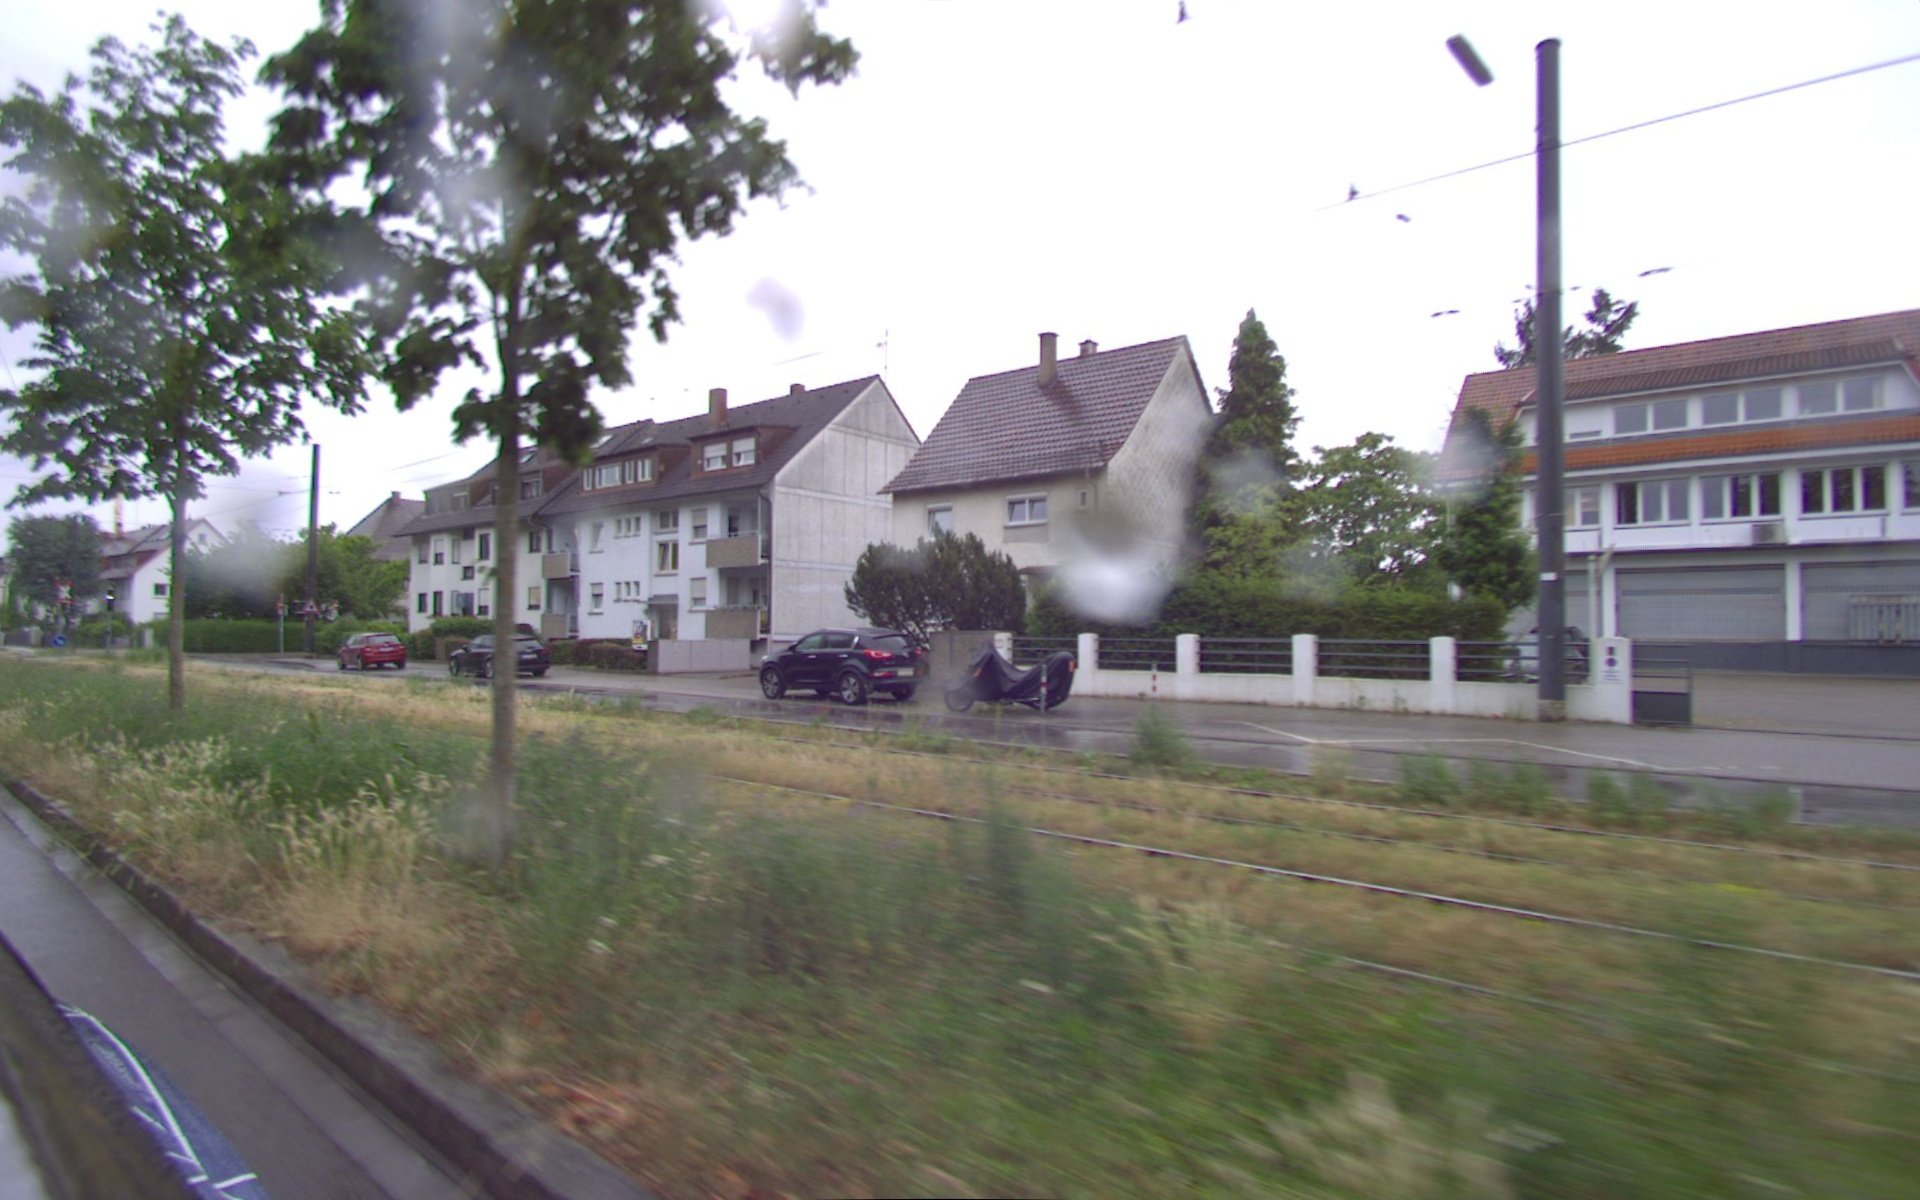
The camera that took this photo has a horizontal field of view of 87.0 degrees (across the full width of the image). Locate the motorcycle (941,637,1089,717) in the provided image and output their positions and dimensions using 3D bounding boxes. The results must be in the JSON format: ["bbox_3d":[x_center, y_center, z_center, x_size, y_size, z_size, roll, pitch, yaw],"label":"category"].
[{"bbox_3d":[1.015,1.452,19.473,2.645,1.421,1.269,0,0,-7],"label":"motorcycle"}]

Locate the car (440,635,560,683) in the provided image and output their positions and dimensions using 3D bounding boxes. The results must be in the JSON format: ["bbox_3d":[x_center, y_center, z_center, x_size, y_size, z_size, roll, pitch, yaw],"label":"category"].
[{"bbox_3d":[-15.489,1.934,33.972,4.761,1.421,1.972,-2,-1,43],"label":"car"}]

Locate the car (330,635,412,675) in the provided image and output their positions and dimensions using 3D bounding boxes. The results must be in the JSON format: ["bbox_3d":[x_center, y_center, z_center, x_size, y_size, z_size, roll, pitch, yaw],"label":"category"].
[{"bbox_3d":[-24.102,2.219,41.341,3.999,1.468,1.778,-2,-1,43],"label":"car"}]

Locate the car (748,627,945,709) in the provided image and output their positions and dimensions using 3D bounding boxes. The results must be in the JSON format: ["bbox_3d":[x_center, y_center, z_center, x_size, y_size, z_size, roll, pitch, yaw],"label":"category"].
[{"bbox_3d":[-2.647,1.466,23.101,4.382,1.687,1.974,-1,-2,39],"label":"car"}]
